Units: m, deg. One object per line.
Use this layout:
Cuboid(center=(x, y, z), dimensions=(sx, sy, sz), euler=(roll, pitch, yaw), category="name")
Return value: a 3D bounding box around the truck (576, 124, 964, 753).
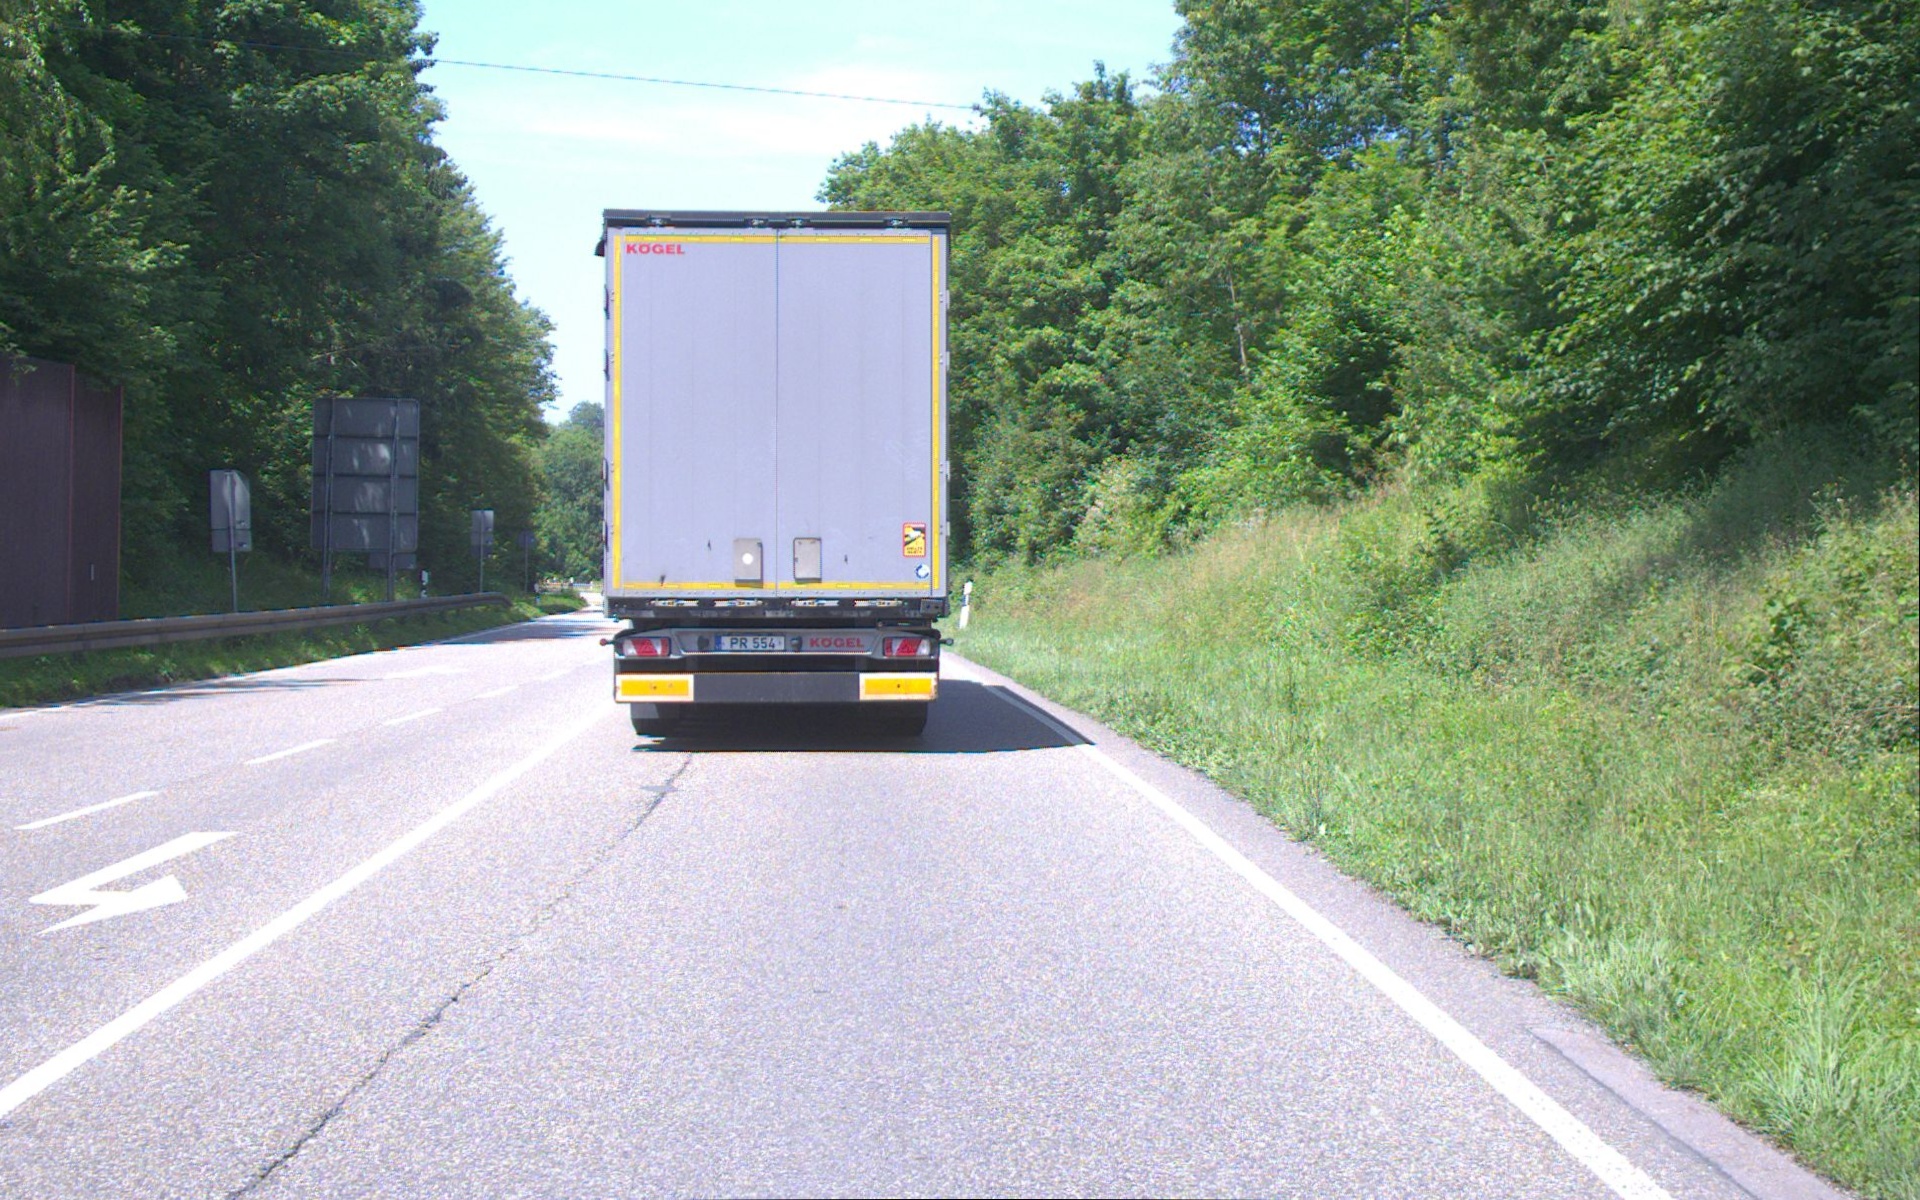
Cuboid(center=(-1.477, -1.276, 28.468), dimensions=(2.822, 4.588, 6.666), euler=(0, 2, -1), category="truck")
